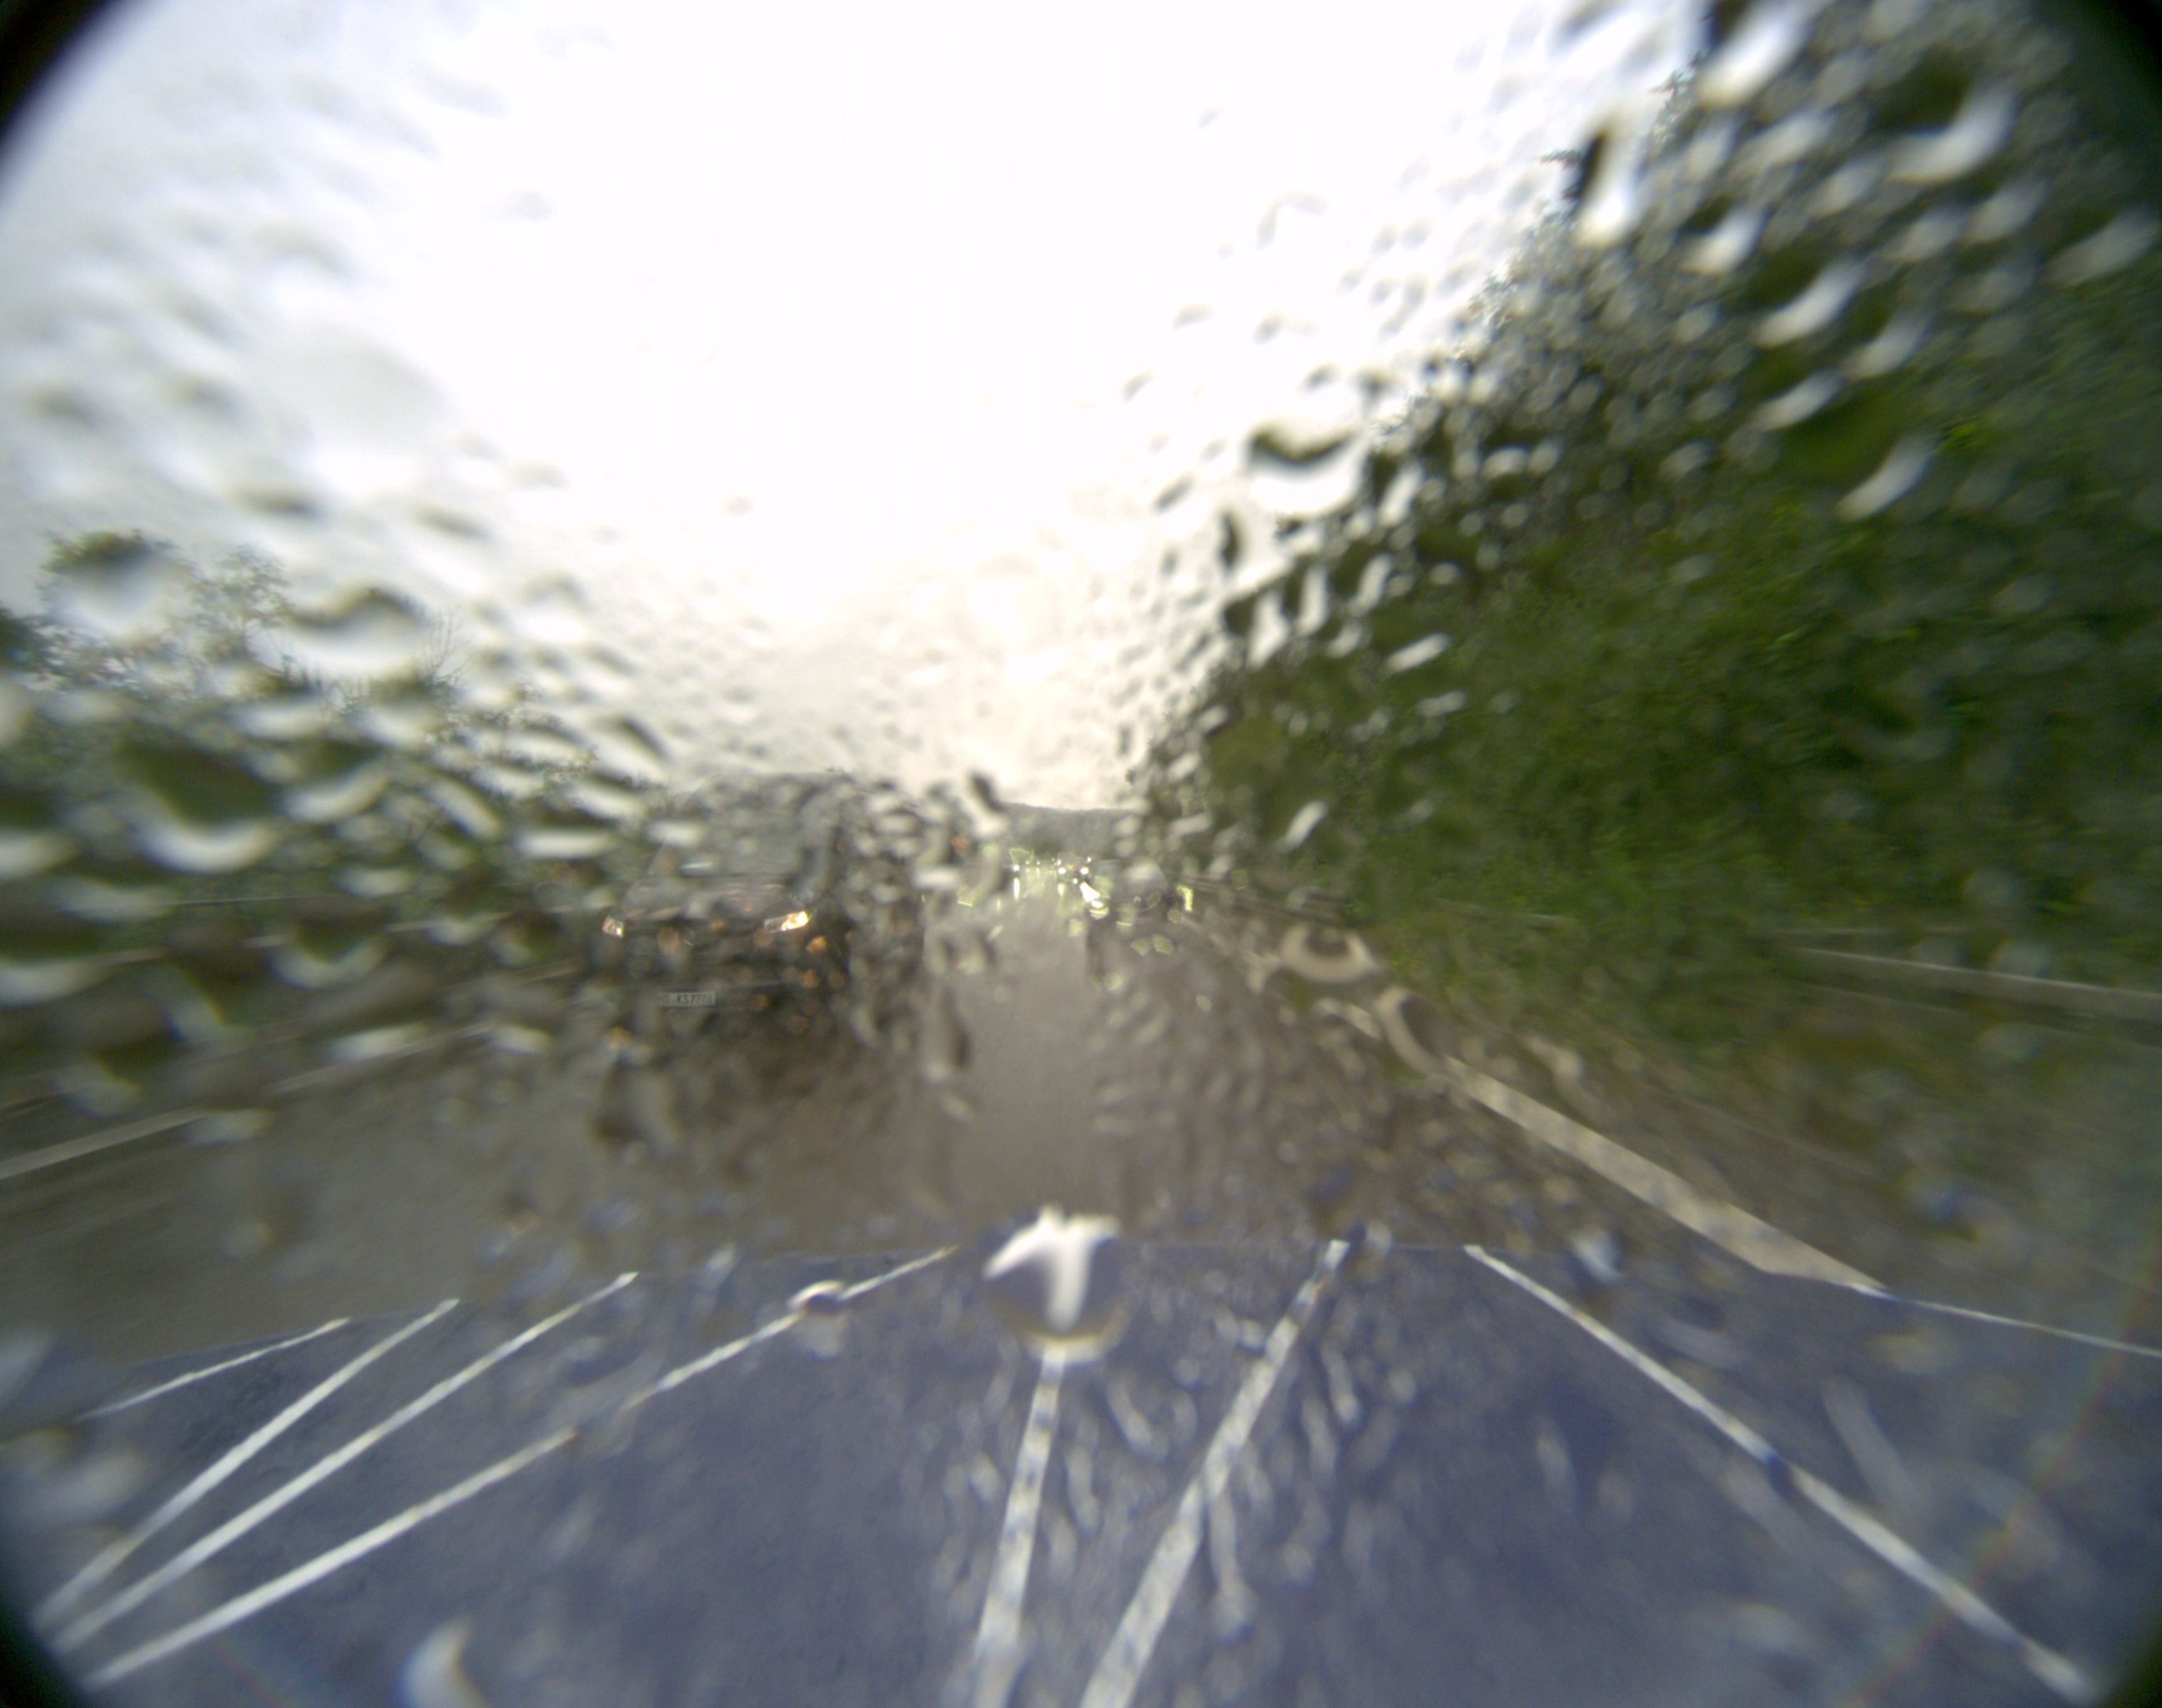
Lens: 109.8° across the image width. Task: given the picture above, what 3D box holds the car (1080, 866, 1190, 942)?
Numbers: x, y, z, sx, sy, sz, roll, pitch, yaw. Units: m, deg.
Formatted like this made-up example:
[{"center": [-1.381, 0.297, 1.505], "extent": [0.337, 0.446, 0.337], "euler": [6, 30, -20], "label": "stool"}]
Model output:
[{"center": [0.967, 0.934, 15.688], "extent": [1.839, 1.316, 4.135], "euler": [-1, 0, -2], "label": "car"}]

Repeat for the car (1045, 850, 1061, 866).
[{"center": [-3.223, 0.453, 89.040], "extent": [1.805, 1.723, 3.765], "euler": [-2, 0, -2], "label": "car"}]

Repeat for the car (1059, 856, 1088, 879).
[{"center": [-0.464, 0.803, 46.944], "extent": [1.713, 1.316, 3.944], "euler": [0, 0, -1], "label": "car"}]

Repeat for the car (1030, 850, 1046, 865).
[{"center": [-5.591, 0.399, 99.140], "extent": [1.765, 1.851, 3.767], "euler": [-2, 0, -1], "label": "car"}]

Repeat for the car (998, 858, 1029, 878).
[{"center": [-5.196, 1.057, 58.836], "extent": [1.991, 1.407, 4.563], "euler": [2, 0, -1], "label": "car"}]

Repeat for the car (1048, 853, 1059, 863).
[{"center": [-4.708, 0.708, 131.317], "extent": [1.711, 1.609, 3.341], "euler": [2, 1, -1], "label": "car"}]

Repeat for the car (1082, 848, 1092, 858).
[{"center": [1.156, -0.183, 153.662], "extent": [1.825, 2.002, 3.872], "euler": [2, 1, 1], "label": "car"}]

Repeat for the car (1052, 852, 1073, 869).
[{"center": [-1.769, 0.575, 73.601], "extent": [1.907, 1.545, 4.563], "euler": [1, 0, -2], "label": "car"}]

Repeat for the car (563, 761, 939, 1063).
[{"center": [-3.363, 0.467, 9.681], "extent": [1.999, 2.480, 6.703], "euler": [-1, 0, -2], "label": "car"}]
